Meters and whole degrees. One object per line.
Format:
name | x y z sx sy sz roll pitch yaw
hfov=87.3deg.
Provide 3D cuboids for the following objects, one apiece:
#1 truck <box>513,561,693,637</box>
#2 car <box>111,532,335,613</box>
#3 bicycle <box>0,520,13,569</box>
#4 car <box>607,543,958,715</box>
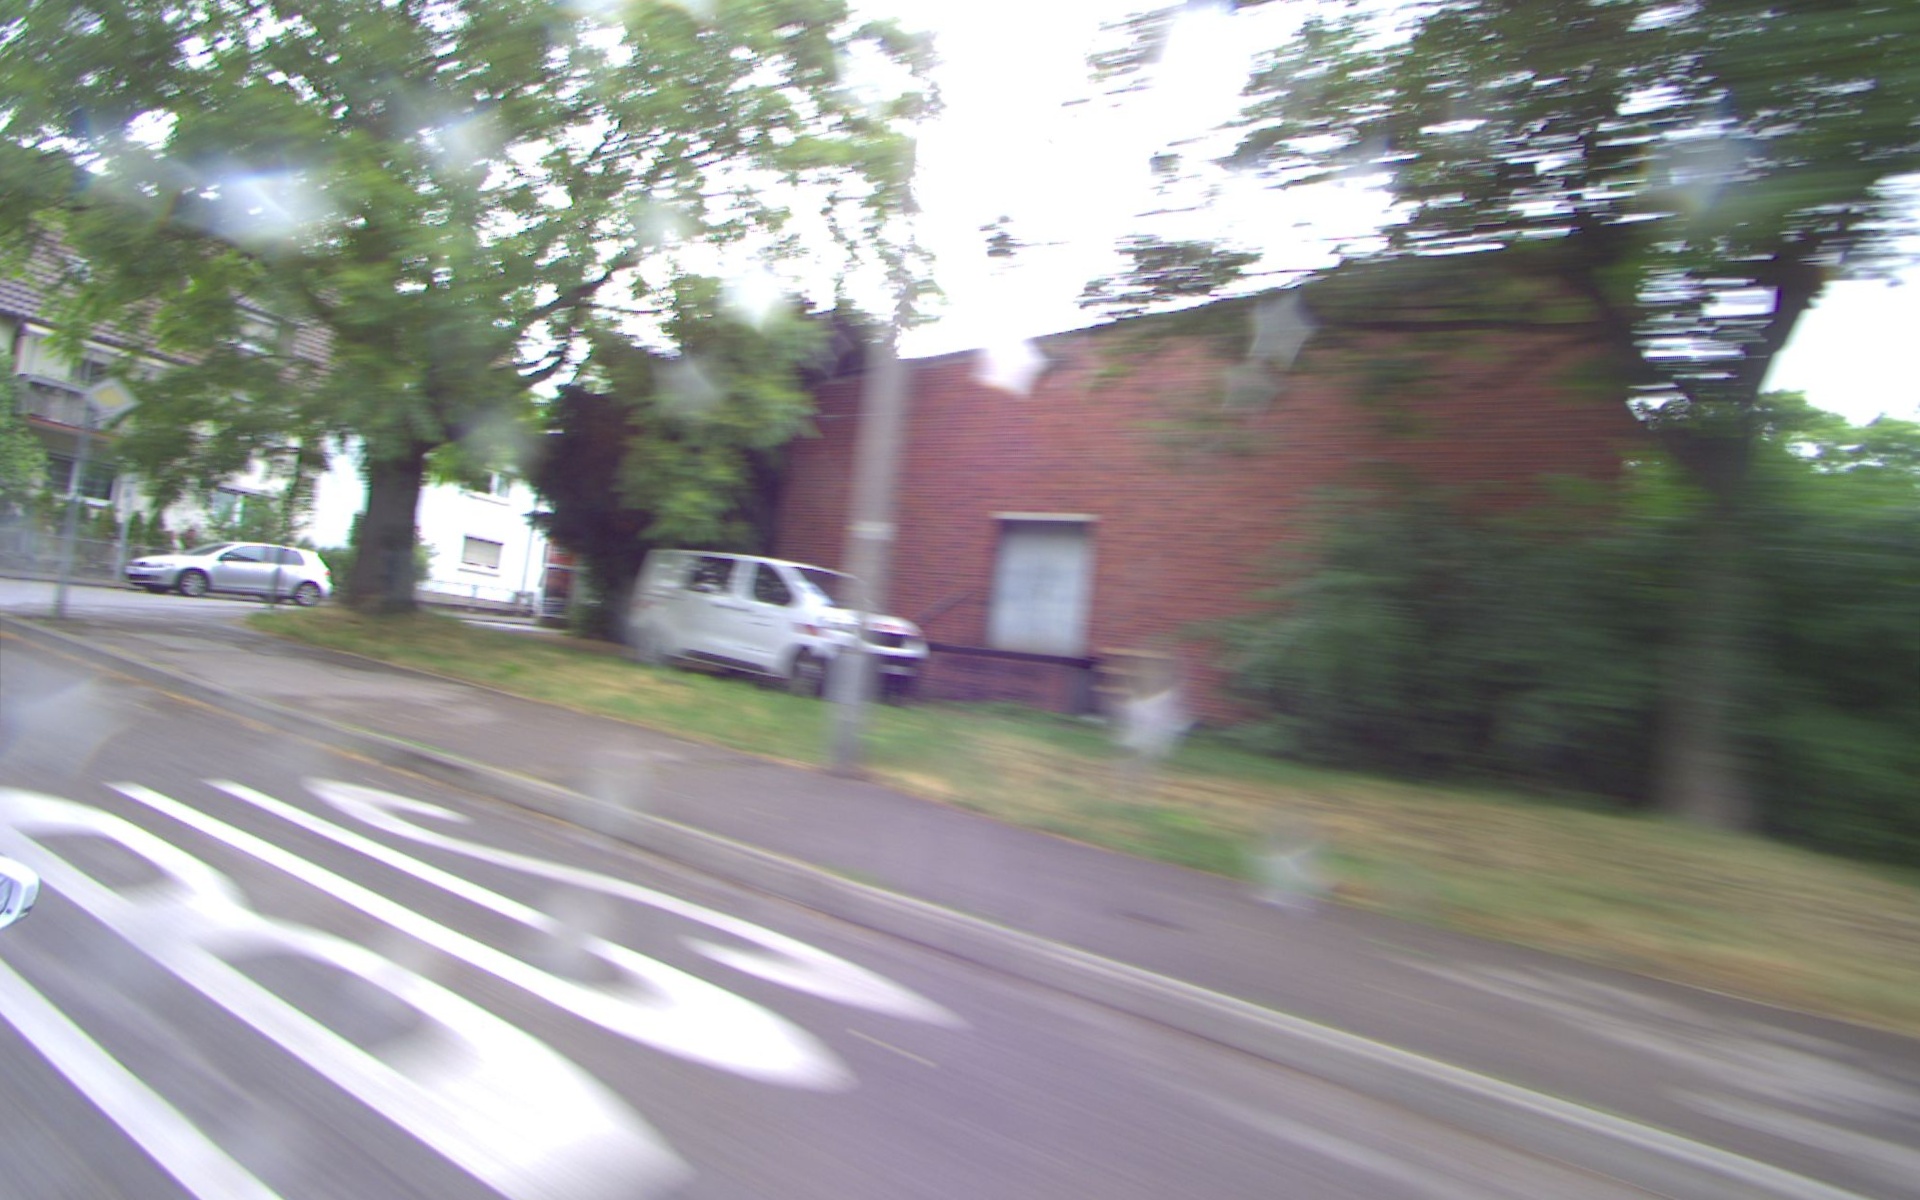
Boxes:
truck | -12.234 0.038 34.932 1.968 2.083 5.838 2 -4 32
car | -17.922 -0.622 24.670 1.675 1.438 3.997 5 -3 29
bicycle | -23.119 -1.389 23.313 0.450 1.127 1.572 7 -2 36
car | -2.778 0.378 15.145 5.066 1.823 1.999 6 -5 35
